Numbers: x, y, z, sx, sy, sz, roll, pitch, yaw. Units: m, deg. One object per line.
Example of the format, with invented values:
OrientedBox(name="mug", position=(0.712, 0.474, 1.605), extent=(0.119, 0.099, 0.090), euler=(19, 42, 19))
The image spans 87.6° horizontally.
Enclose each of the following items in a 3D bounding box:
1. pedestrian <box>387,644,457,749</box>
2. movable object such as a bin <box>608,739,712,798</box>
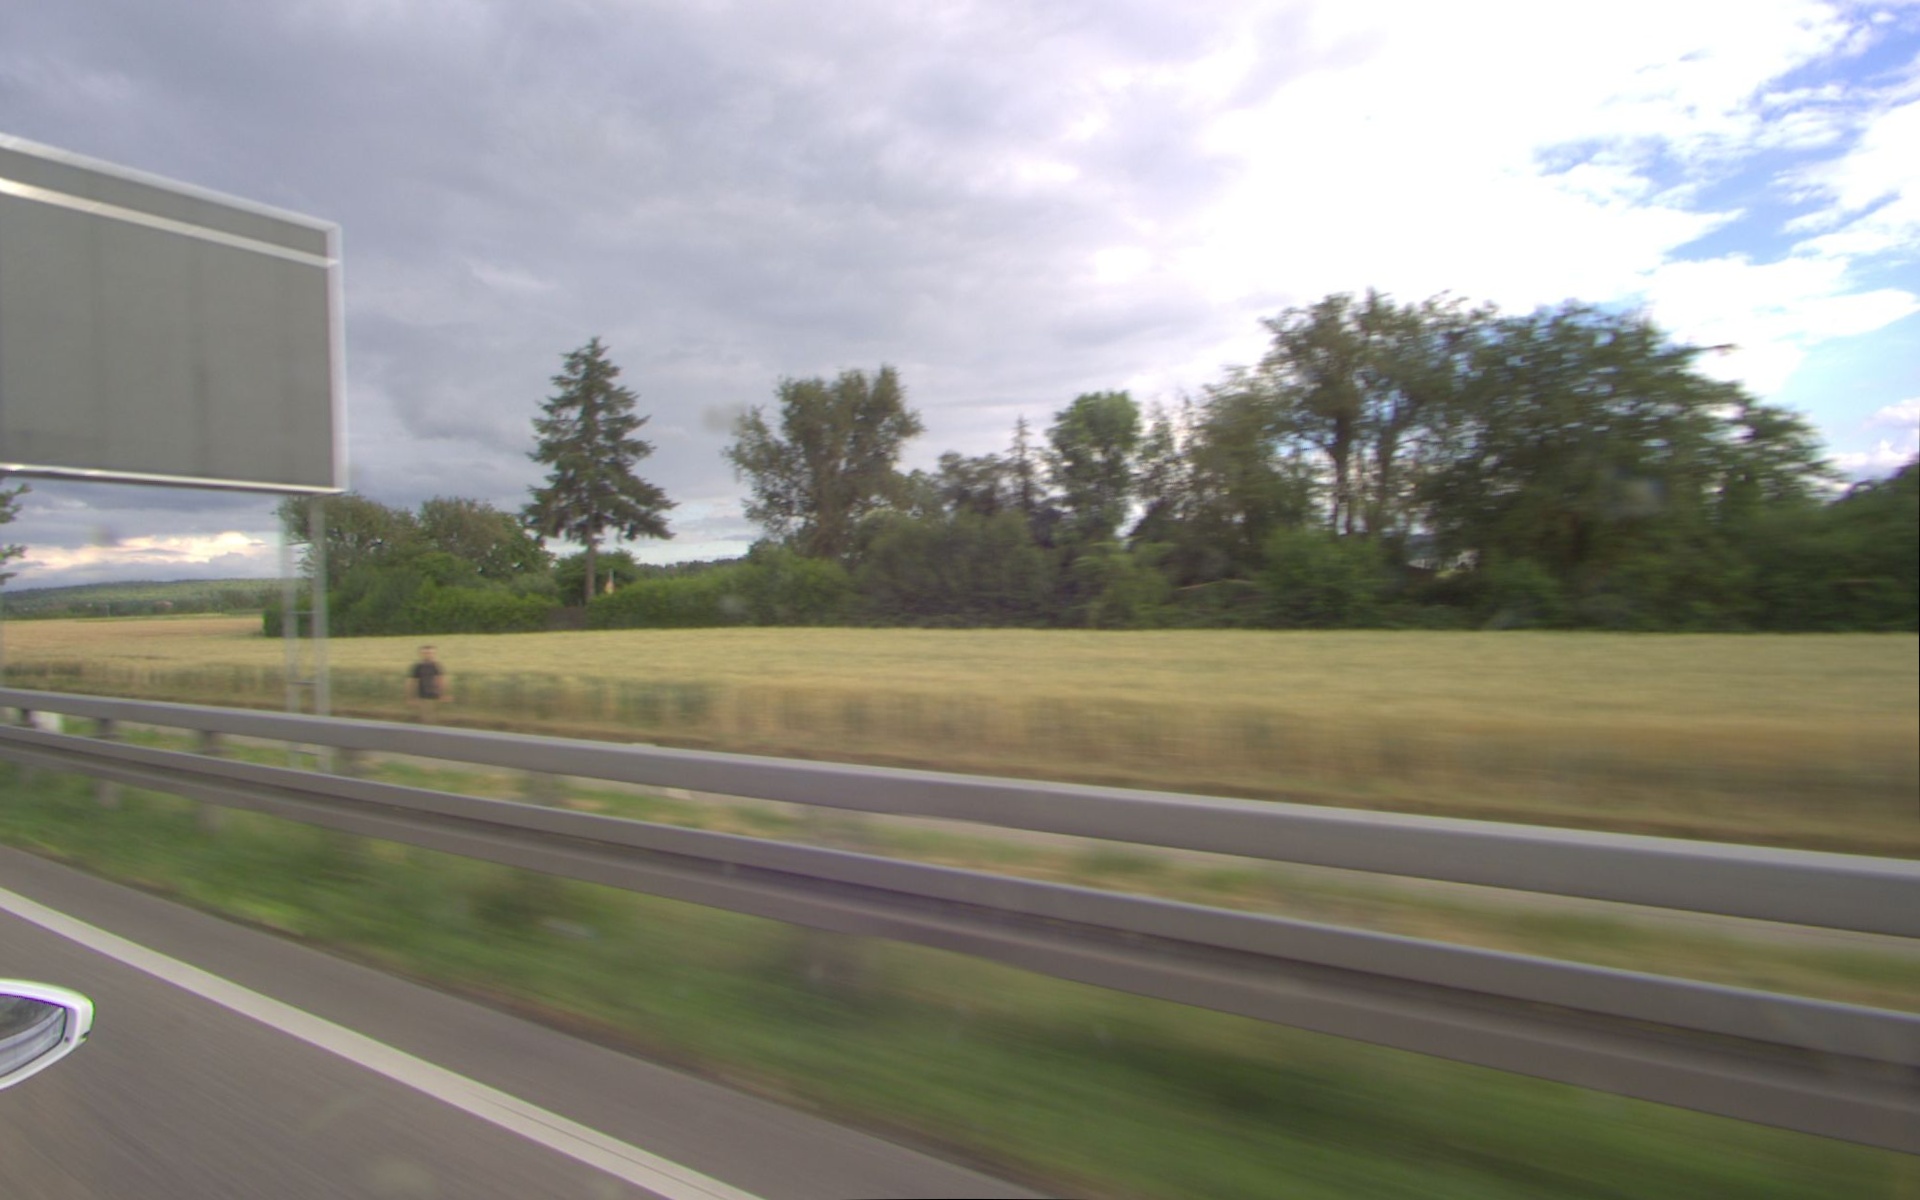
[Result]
OrientedBox(name="pedestrian", position=(-9.940, 1.753, 18.522), extent=(0.927, 1.891, 0.770), euler=(-1, -2, 32))
OrientedBox(name="movable object such as a bin", position=(-4.081, 2.272, 13.619), extent=(1.218, 0.653, 0.731), euler=(-2, -3, 32))
